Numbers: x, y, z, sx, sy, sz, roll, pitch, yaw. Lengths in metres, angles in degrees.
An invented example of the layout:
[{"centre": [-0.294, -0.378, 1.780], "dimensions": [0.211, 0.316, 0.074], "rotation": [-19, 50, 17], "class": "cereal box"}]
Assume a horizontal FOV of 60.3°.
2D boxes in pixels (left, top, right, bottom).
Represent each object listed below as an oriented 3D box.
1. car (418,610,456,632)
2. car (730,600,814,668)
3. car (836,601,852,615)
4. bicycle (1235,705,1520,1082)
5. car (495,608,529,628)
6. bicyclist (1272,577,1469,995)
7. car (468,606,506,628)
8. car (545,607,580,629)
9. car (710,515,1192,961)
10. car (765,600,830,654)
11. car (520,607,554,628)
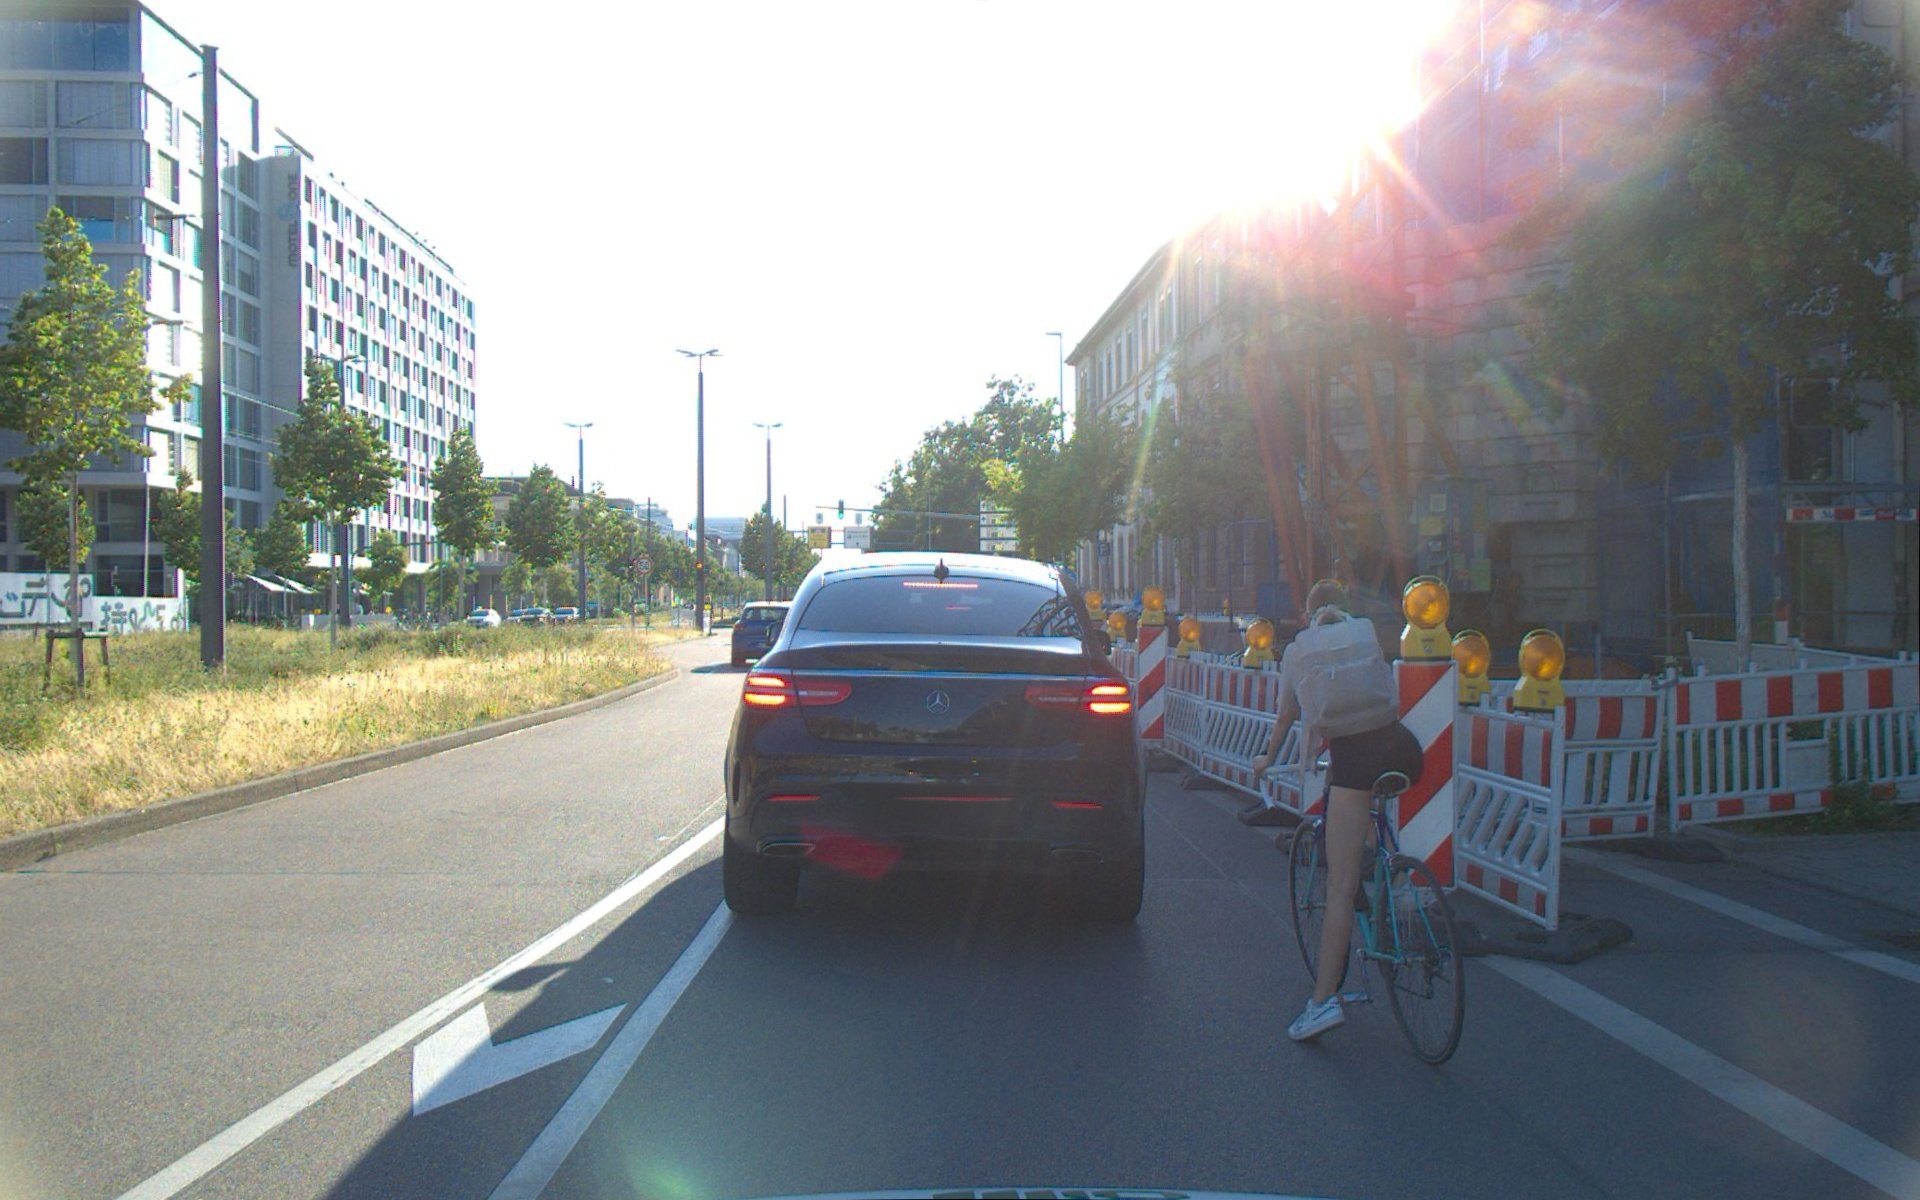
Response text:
[{"centre": [-36.973, 1.495, 116.980], "dimensions": [1.674, 1.467, 3.580], "rotation": [1, 0, -3], "class": "car"}, {"centre": [-4.301, 0.755, 38.264], "dimensions": [1.674, 1.467, 3.580], "rotation": [1, 0, -3], "class": "car"}, {"centre": [-12.841, 0.915, 183.467], "dimensions": [1.674, 1.467, 3.580], "rotation": [1, 0, -3], "class": "car"}, {"centre": [1.451, 0.973, 6.037], "dimensions": [0.502, 1.070, 1.724], "rotation": [1, 0, -3], "class": "bicycle"}, {"centre": [-33.243, 1.327, 122.783], "dimensions": [1.674, 1.467, 3.580], "rotation": [1, 0, -3], "class": "car"}, {"centre": [1.458, 0.636, 5.939], "dimensions": [0.512, 1.420, 0.614], "rotation": [1, -1, -4], "class": "bicyclist"}, {"centre": [-32.194, 1.167, 112.567], "dimensions": [1.674, 1.467, 3.580], "rotation": [1, 0, -3], "class": "car"}, {"centre": [-27.491, 1.253, 114.433], "dimensions": [1.674, 1.467, 3.580], "rotation": [1, 0, -3], "class": "car"}, {"centre": [-0.061, 0.577, 8.802], "dimensions": [1.953, 1.803, 3.999], "rotation": [1, 0, -1], "class": "car"}, {"centre": [-4.658, 0.766, 47.720], "dimensions": [1.674, 1.467, 3.580], "rotation": [1, 0, -3], "class": "car"}, {"centre": [-29.986, 1.223, 117.282], "dimensions": [1.674, 1.467, 3.580], "rotation": [1, 0, -3], "class": "car"}]
